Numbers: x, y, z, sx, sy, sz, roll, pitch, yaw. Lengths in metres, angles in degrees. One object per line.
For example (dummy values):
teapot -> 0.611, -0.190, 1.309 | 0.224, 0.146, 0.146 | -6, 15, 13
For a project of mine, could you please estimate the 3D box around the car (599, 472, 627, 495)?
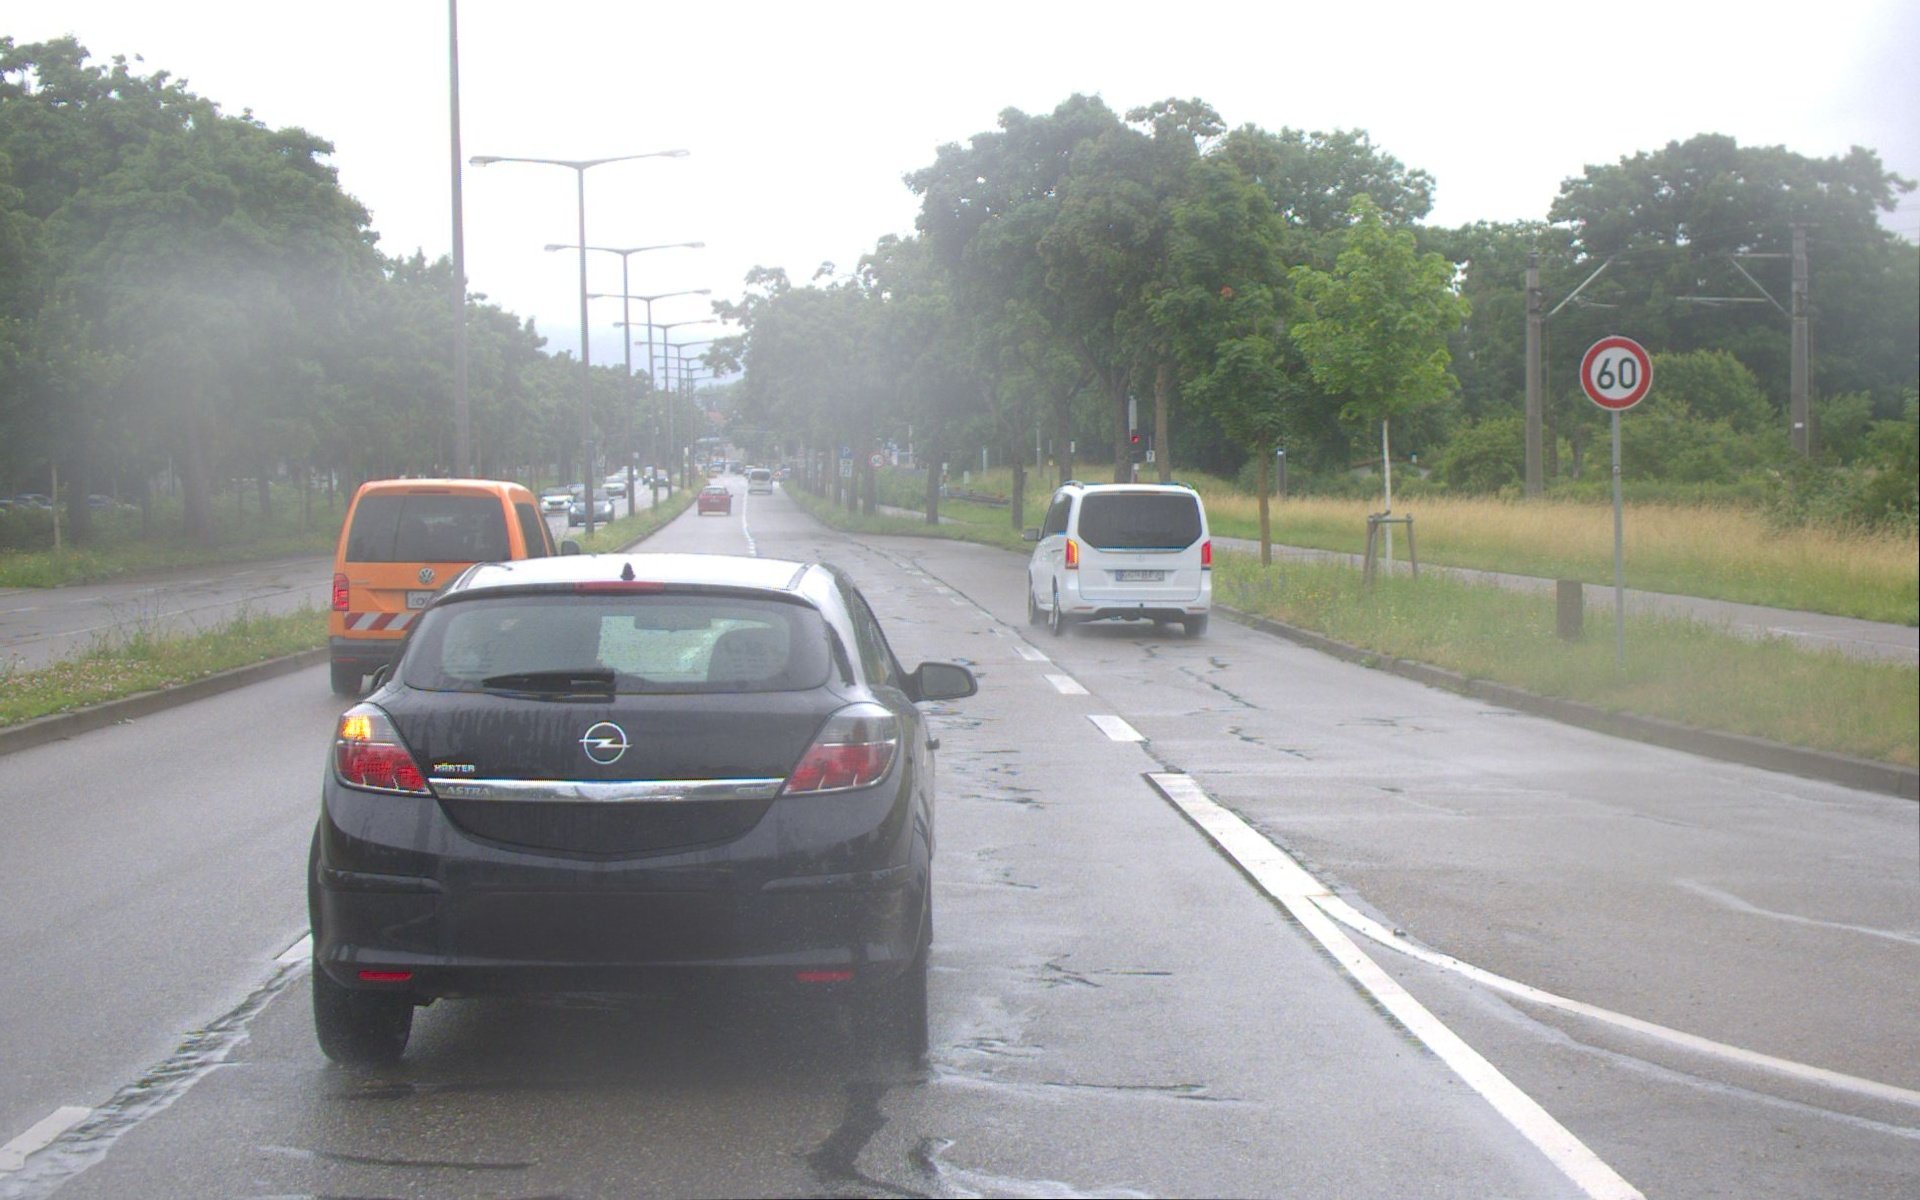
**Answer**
car -> -25.030, -8.420, 248.316 | 1.720, 1.524, 3.810 | -1, 3, -2

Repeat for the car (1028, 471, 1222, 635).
car -> 2.041, -0.619, 43.901 | 2.059, 1.968, 4.609 | 0, 1, -2

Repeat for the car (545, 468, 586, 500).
car -> -20.136, -5.945, 175.470 | 1.720, 1.524, 3.810 | -1, 3, -2

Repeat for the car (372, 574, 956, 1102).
car -> -0.767, 0.599, 10.742 | 1.463, 1.324, 3.758 | 0, 1, 1

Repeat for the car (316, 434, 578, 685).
car -> -4.395, -0.398, 30.087 | 1.734, 2.012, 4.850 | 0, 2, -2

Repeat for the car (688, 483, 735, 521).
car -> -12.347, -4.887, 171.215 | 1.993, 1.873, 4.000 | 0, 1, 1

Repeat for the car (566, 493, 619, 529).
car -> -14.972, -3.640, 140.238 | 1.827, 1.445, 3.809 | -1, 2, -2

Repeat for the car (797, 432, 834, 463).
car -> -10.296, -10.794, 244.192 | 2.516, 2.045, 5.294 | 2, 2, -3
